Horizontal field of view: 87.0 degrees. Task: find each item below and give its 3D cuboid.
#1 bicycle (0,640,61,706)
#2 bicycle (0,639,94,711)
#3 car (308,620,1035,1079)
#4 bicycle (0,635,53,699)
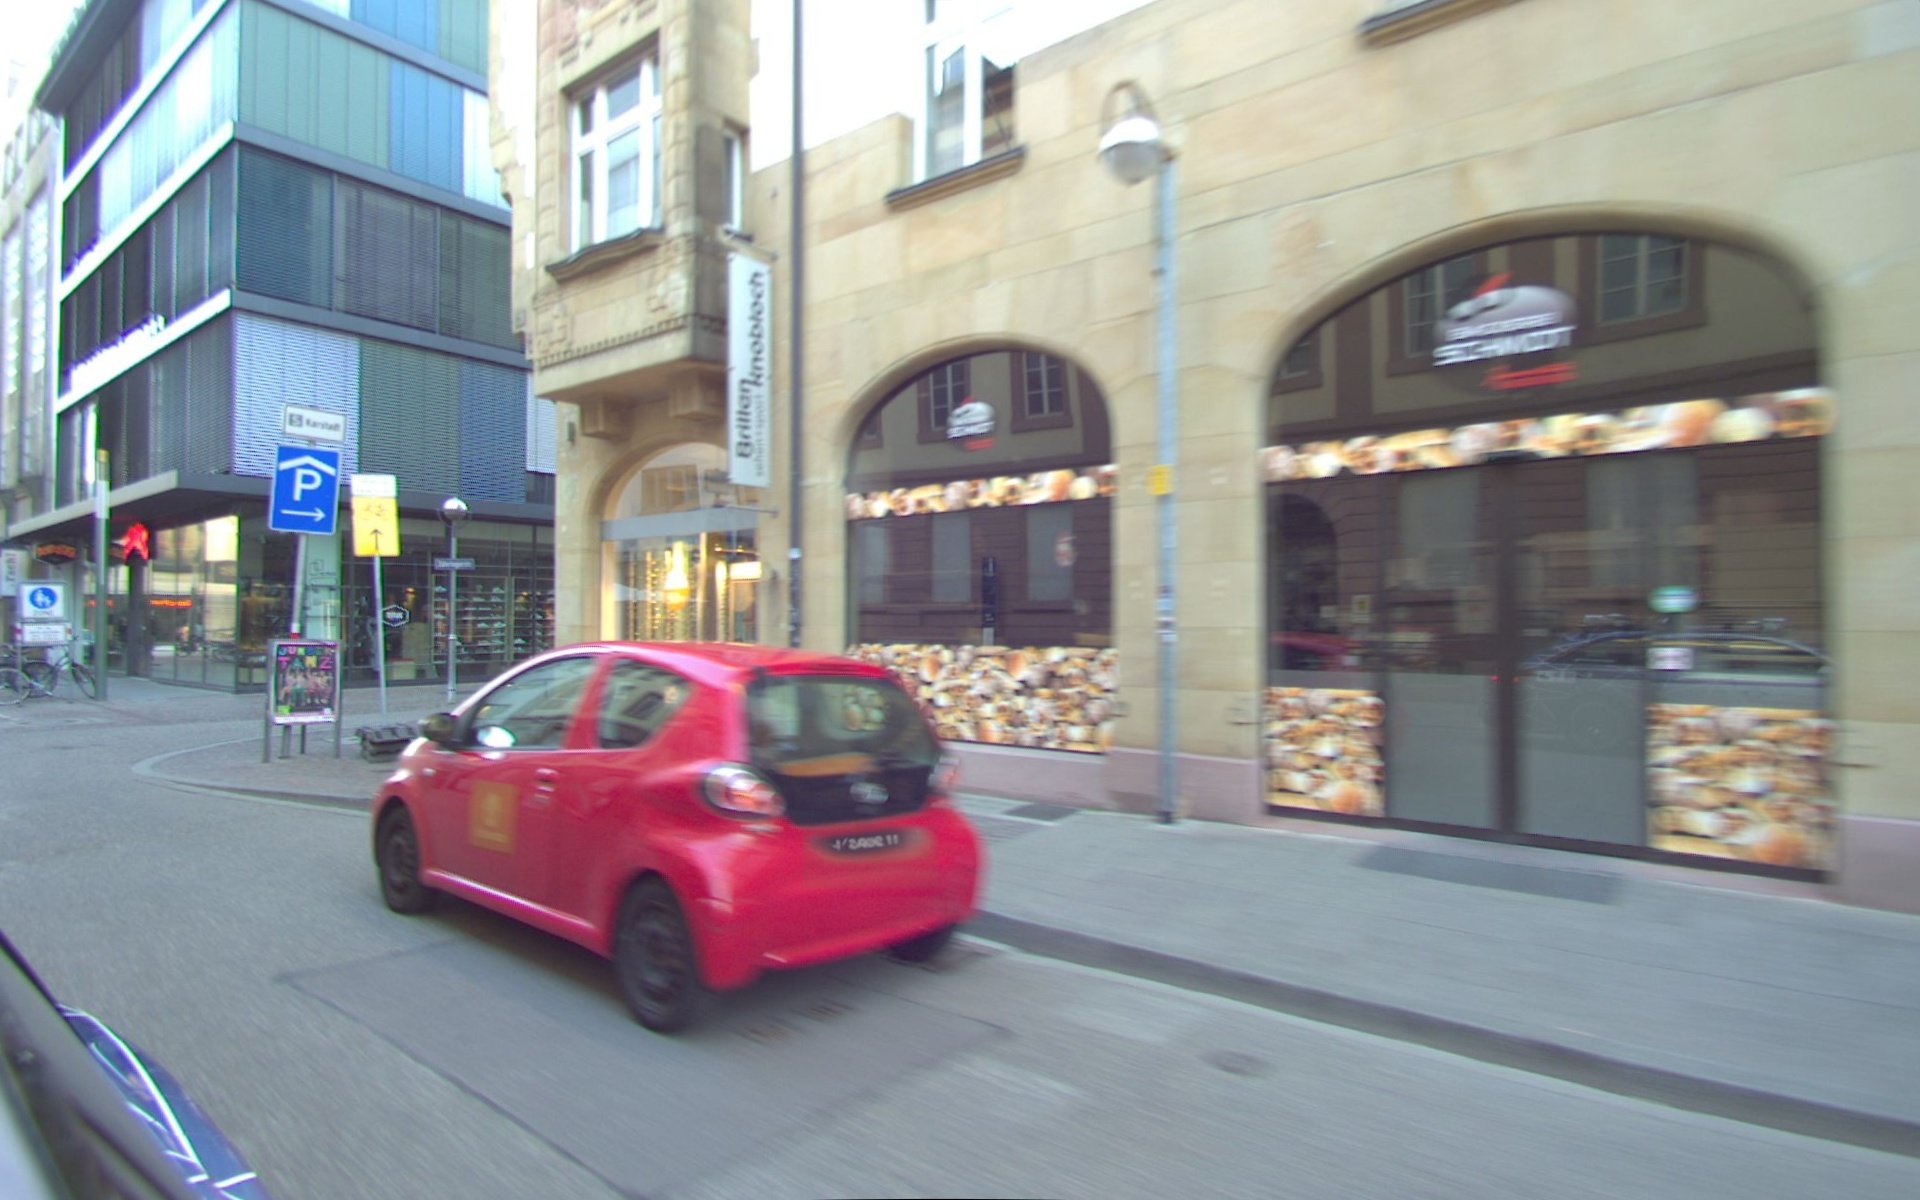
[{"bbox_3d":[-18.264,1.411,19.085,0.516,1.190,1.880,-4,-1,37],"label":"bicycle"},{"bbox_3d":[-16.835,1.354,18.351,0.508,1.213,1.650,-2,0,38],"label":"bicycle"},{"bbox_3d":[-1.695,0.873,5.200,3.928,1.481,1.641,-1,-3,40],"label":"car"},{"bbox_3d":[-20.150,1.430,20.995,0.538,1.279,1.879,-2,2,39],"label":"bicycle"}]
